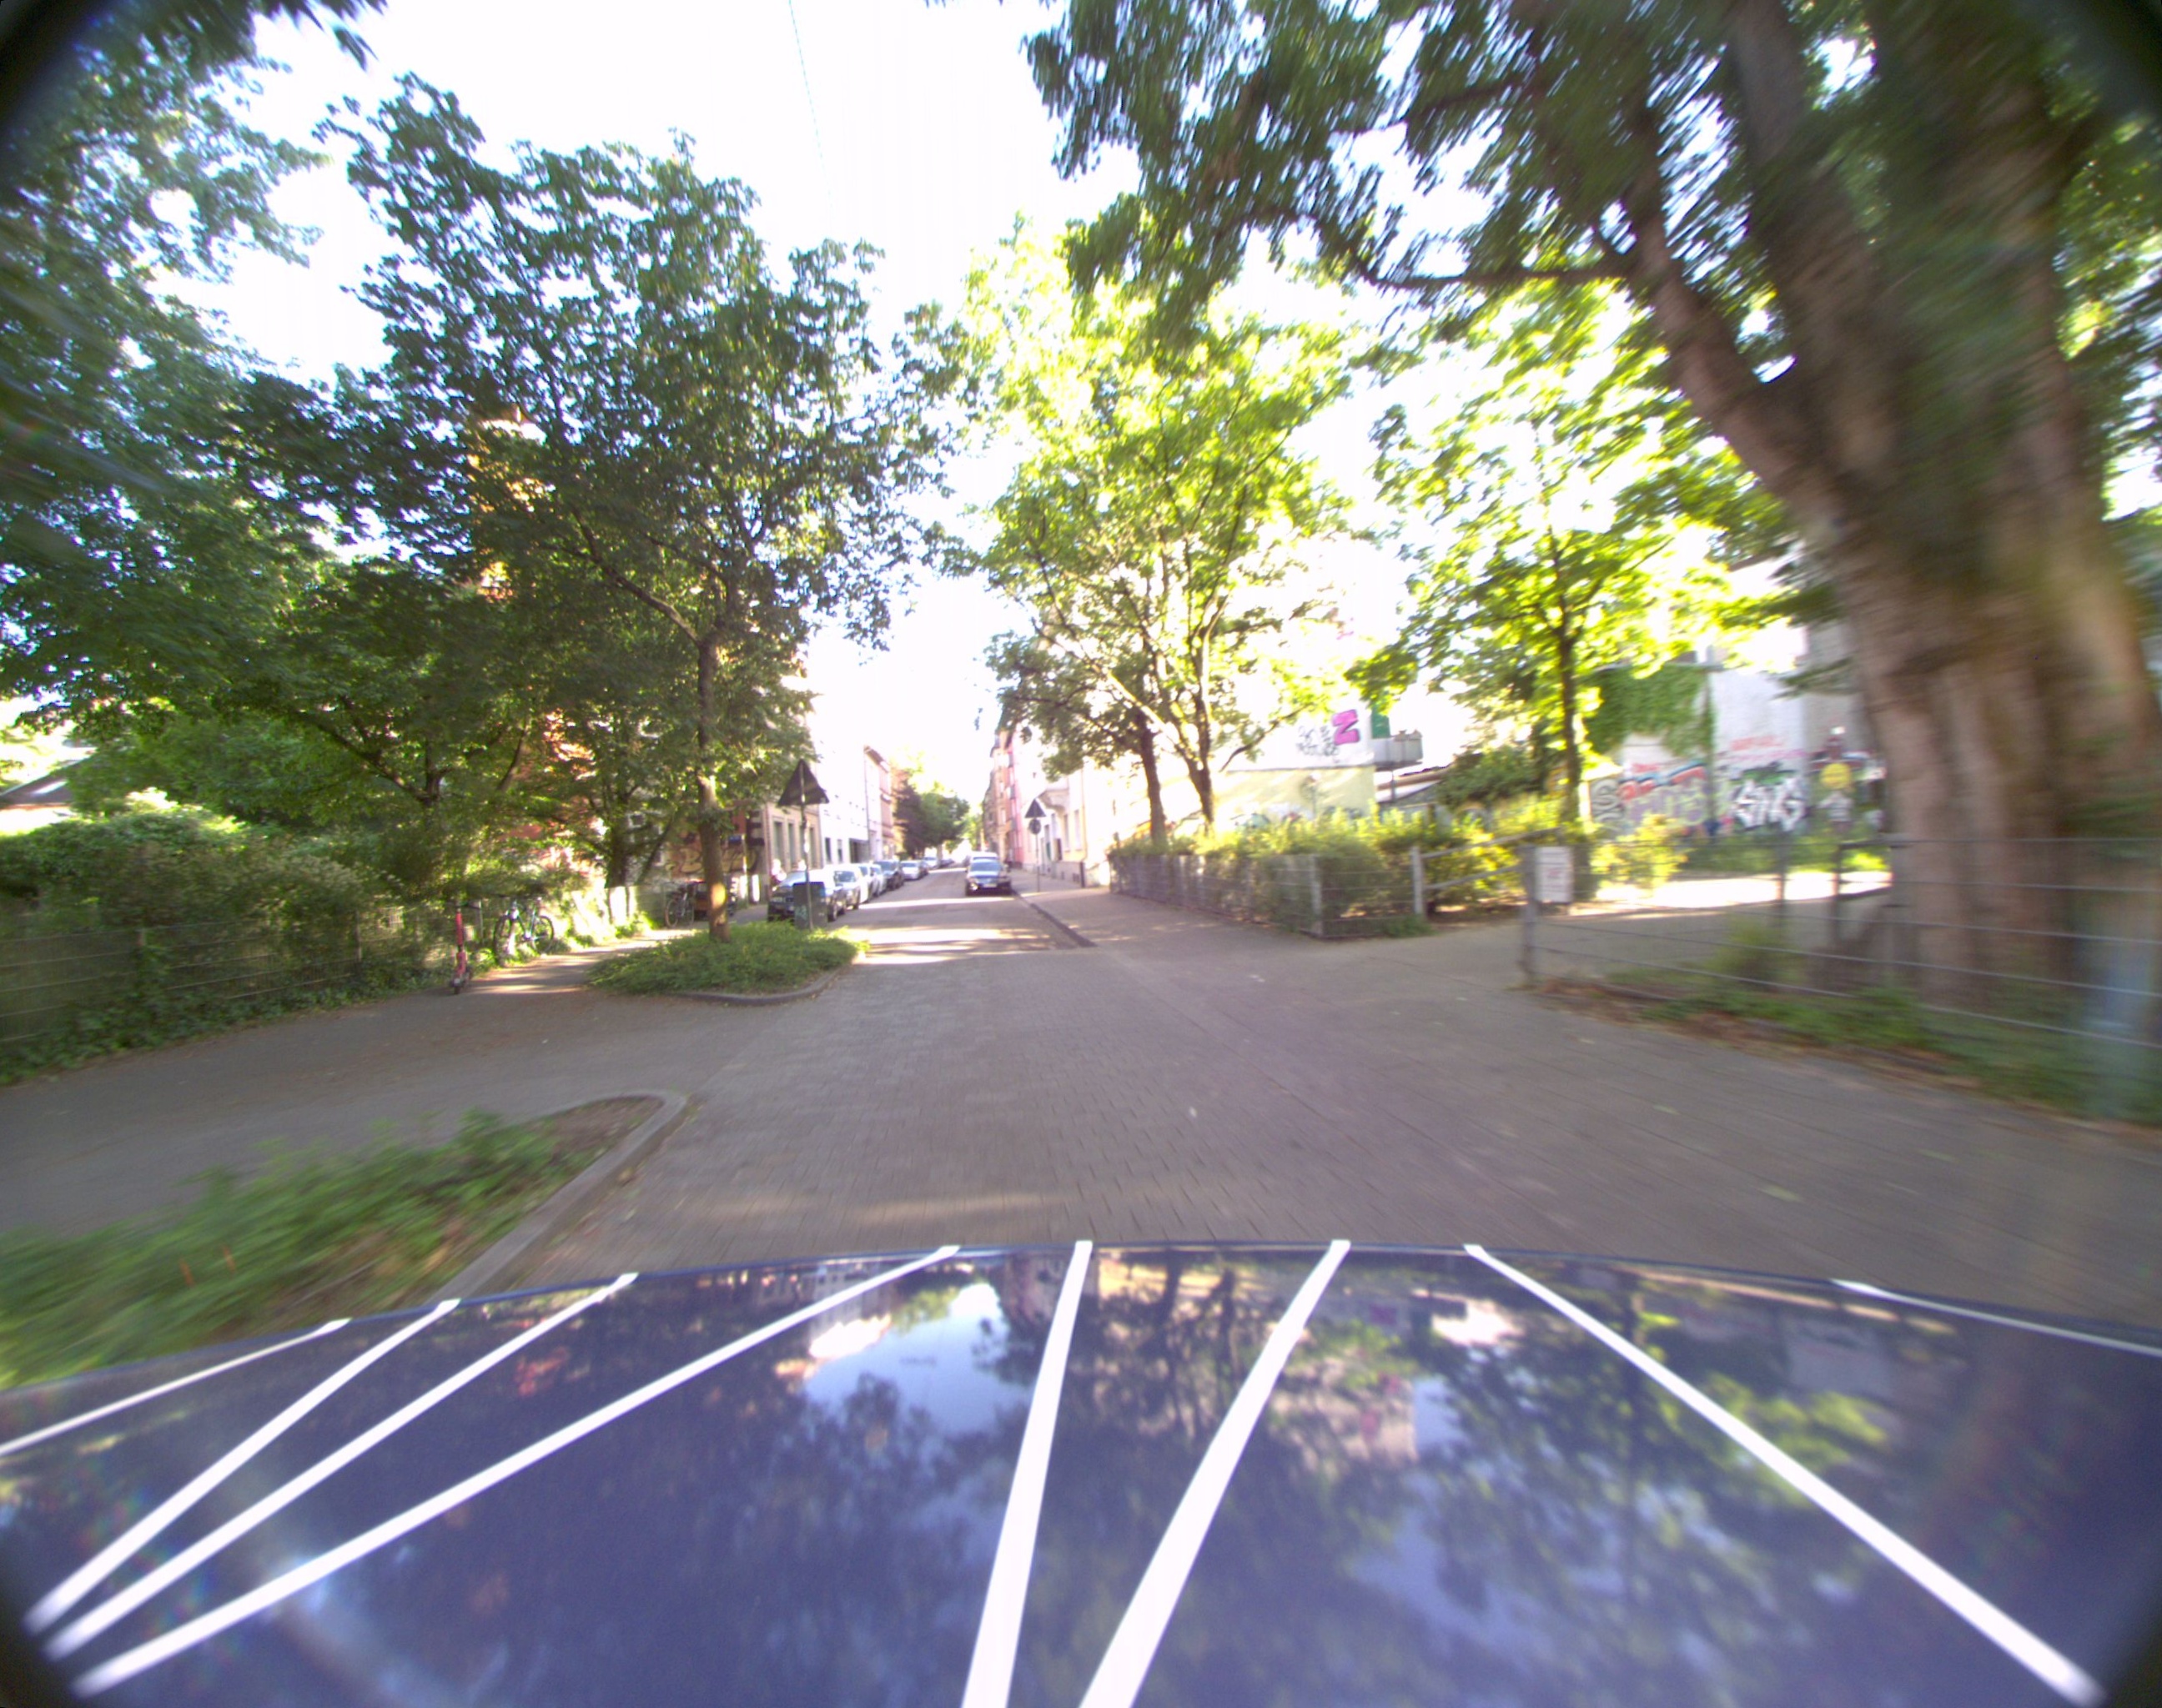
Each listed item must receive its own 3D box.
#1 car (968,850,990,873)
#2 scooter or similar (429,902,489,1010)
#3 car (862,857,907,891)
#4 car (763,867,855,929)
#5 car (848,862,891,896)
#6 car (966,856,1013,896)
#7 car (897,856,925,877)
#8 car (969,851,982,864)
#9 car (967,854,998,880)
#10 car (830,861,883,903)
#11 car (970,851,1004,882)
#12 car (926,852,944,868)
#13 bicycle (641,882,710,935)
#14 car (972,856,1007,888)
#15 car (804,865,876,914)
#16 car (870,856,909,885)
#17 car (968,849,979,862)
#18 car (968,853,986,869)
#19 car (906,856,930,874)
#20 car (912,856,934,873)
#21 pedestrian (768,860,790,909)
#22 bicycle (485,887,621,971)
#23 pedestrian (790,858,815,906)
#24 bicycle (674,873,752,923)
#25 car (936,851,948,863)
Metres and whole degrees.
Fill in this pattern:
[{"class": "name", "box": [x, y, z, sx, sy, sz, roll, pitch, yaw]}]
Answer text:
[{"class": "car", "box": [-8.525, 0.618, 63.480, 1.770, 1.814, 4.099, 0, 1, -9]}, {"class": "scooter or similar", "box": [-8.339, 1.318, 10.195, 0.547, 1.254, 1.469, -3, 1, -39]}, {"class": "car", "box": [-10.590, 1.021, 41.229, 1.771, 1.657, 4.325, -2, 0, -7]}, {"class": "car", "box": [-7.777, 1.183, 22.123, 1.726, 1.485, 4.410, -2, 1, -9]}, {"class": "car", "box": [-10.085, 1.150, 36.470, 1.599, 1.442, 3.999, -2, 0, -11]}, {"class": "car", "box": [-3.791, 0.843, 31.005, 1.785, 1.435, 4.388, 0, 1, -9]}, {"class": "car", "box": [-13.048, 0.949, 58.481, 1.770, 1.508, 4.099, 0, 1, -9]}, {"class": "car", "box": [-14.855, 0.507, 107.115, 1.770, 1.846, 3.989, 0, 1, -9]}, {"class": "car", "box": [-6.326, 0.809, 49.200, 1.675, 1.519, 4.083, 0, 1, -3]}, {"class": "car", "box": [-9.431, 1.131, 32.163, 1.598, 1.576, 3.761, -2, 0, -8]}, {"class": "car", "box": [-5.552, 0.678, 44.327, 1.755, 1.731, 4.310, 0, 1, -10]}, {"class": "car", "box": [-19.183, 0.746, 99.809, 1.867, 1.970, 4.478, 0, 1, -5]}, {"class": "bicycle", "box": [-10.389, 1.369, 19.558, 0.849, 1.194, 1.980, -3, 0, -7]}, {"class": "car", "box": [-4.477, 0.821, 37.192, 1.598, 1.442, 3.483, 0, 1, -7]}, {"class": "car", "box": [-8.441, 1.179, 26.948, 1.664, 1.485, 4.350, -2, 1, -8]}, {"class": "car", "box": [-11.624, 0.971, 46.292, 1.887, 1.657, 4.324, 0, 1, -9]}, {"class": "car", "box": [-18.081, 0.215, 127.620, 1.770, 2.075, 4.260, 0, 1, -9]}, {"class": "car", "box": [-10.768, 0.708, 78.519, 1.770, 1.524, 4.099, 0, 1, -9]}, {"class": "car", "box": [-14.497, 0.968, 67.712, 1.770, 1.524, 4.099, -1, 1, -9]}, {"class": "car", "box": [-15.111, 0.946, 72.823, 1.770, 1.524, 4.099, 0, 1, -9]}, {"class": "pedestrian", "box": [-10.813, 1.084, 27.213, 0.599, 1.699, 0.706, 0, 1, -9]}, {"class": "bicycle", "box": [-9.685, 1.325, 14.111, 0.849, 1.260, 2.690, -3, 0, -7]}, {"class": "pedestrian", "box": [-10.027, 0.987, 27.381, 0.712, 1.699, 0.751, 0, 1, -9]}, {"class": "bicycle", "box": [-10.680, 1.255, 22.185, 1.294, 1.294, 2.325, -1, 0, -6]}, {"class": "car", "box": [-22.822, 0.498, 124.779, 1.770, 2.006, 4.260, 0, 1, -9]}]
